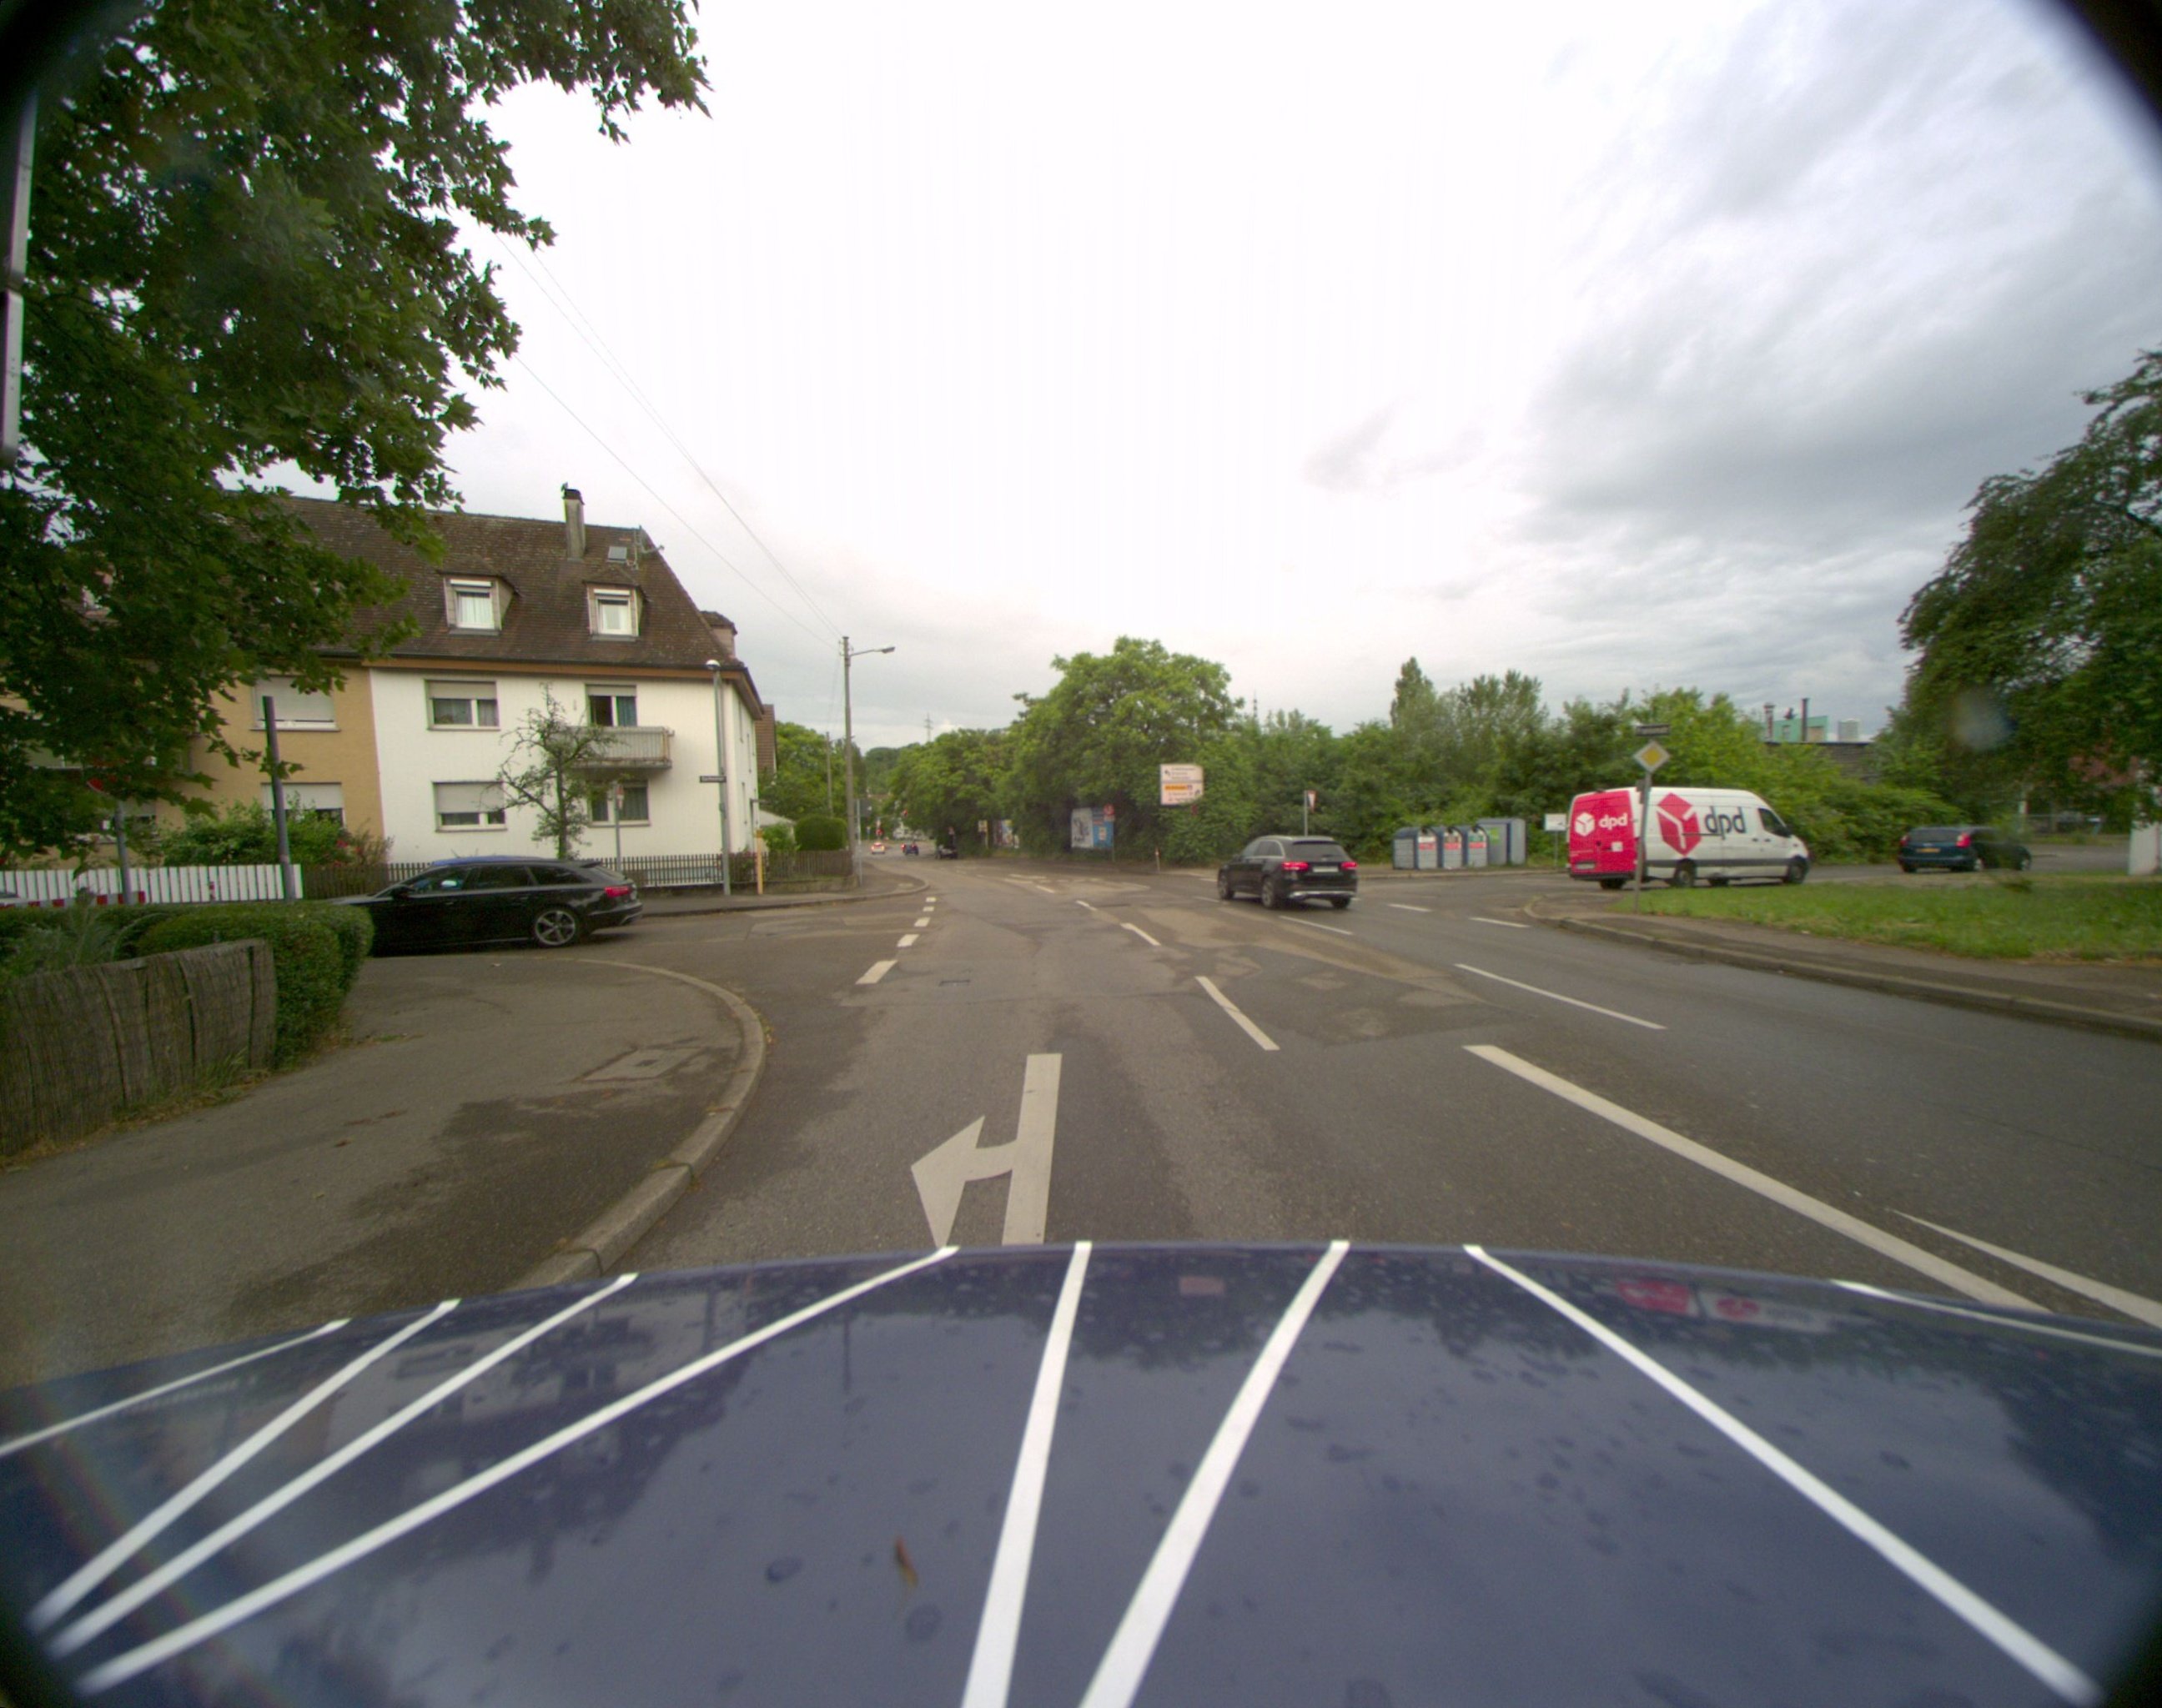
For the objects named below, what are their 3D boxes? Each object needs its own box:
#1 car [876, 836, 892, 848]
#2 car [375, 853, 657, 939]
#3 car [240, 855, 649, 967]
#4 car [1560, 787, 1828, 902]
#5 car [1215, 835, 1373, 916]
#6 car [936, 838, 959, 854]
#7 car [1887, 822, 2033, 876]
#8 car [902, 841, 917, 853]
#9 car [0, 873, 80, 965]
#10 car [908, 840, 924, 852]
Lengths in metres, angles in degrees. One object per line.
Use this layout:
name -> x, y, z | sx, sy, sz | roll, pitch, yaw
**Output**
car -> -29.622, -1.805, 114.099 | 1.838, 1.570, 4.325 | -3, 2, -19
car -> -11.129, 0.761, 15.348 | 4.130, 1.472, 1.883 | -1, 1, -17
car -> -10.062, 0.812, 12.610 | 4.824, 1.472, 1.882 | -1, 1, -24
car -> 16.158, -0.352, 20.028 | 6.829, 2.641, 2.258 | -2, 2, -20
car -> 4.823, 0.423, 17.955 | 1.921, 1.617, 4.430 | -2, 1, -8
car -> -13.189, -0.784, 74.958 | 1.849, 1.560, 4.406 | -2, 1, -15
car -> 30.135, -0.211, 26.073 | 4.257, 1.620, 1.996 | -3, 2, -22
car -> -27.600, -1.147, 122.175 | 1.965, 1.920, 4.675 | -2, 1, -17
car -> -19.478, 1.121, 12.154 | 3.788, 1.445, 1.769 | -2, 1, -20
car -> -21.662, -1.030, 99.656 | 1.604, 1.418, 3.688 | -1, 4, -20
